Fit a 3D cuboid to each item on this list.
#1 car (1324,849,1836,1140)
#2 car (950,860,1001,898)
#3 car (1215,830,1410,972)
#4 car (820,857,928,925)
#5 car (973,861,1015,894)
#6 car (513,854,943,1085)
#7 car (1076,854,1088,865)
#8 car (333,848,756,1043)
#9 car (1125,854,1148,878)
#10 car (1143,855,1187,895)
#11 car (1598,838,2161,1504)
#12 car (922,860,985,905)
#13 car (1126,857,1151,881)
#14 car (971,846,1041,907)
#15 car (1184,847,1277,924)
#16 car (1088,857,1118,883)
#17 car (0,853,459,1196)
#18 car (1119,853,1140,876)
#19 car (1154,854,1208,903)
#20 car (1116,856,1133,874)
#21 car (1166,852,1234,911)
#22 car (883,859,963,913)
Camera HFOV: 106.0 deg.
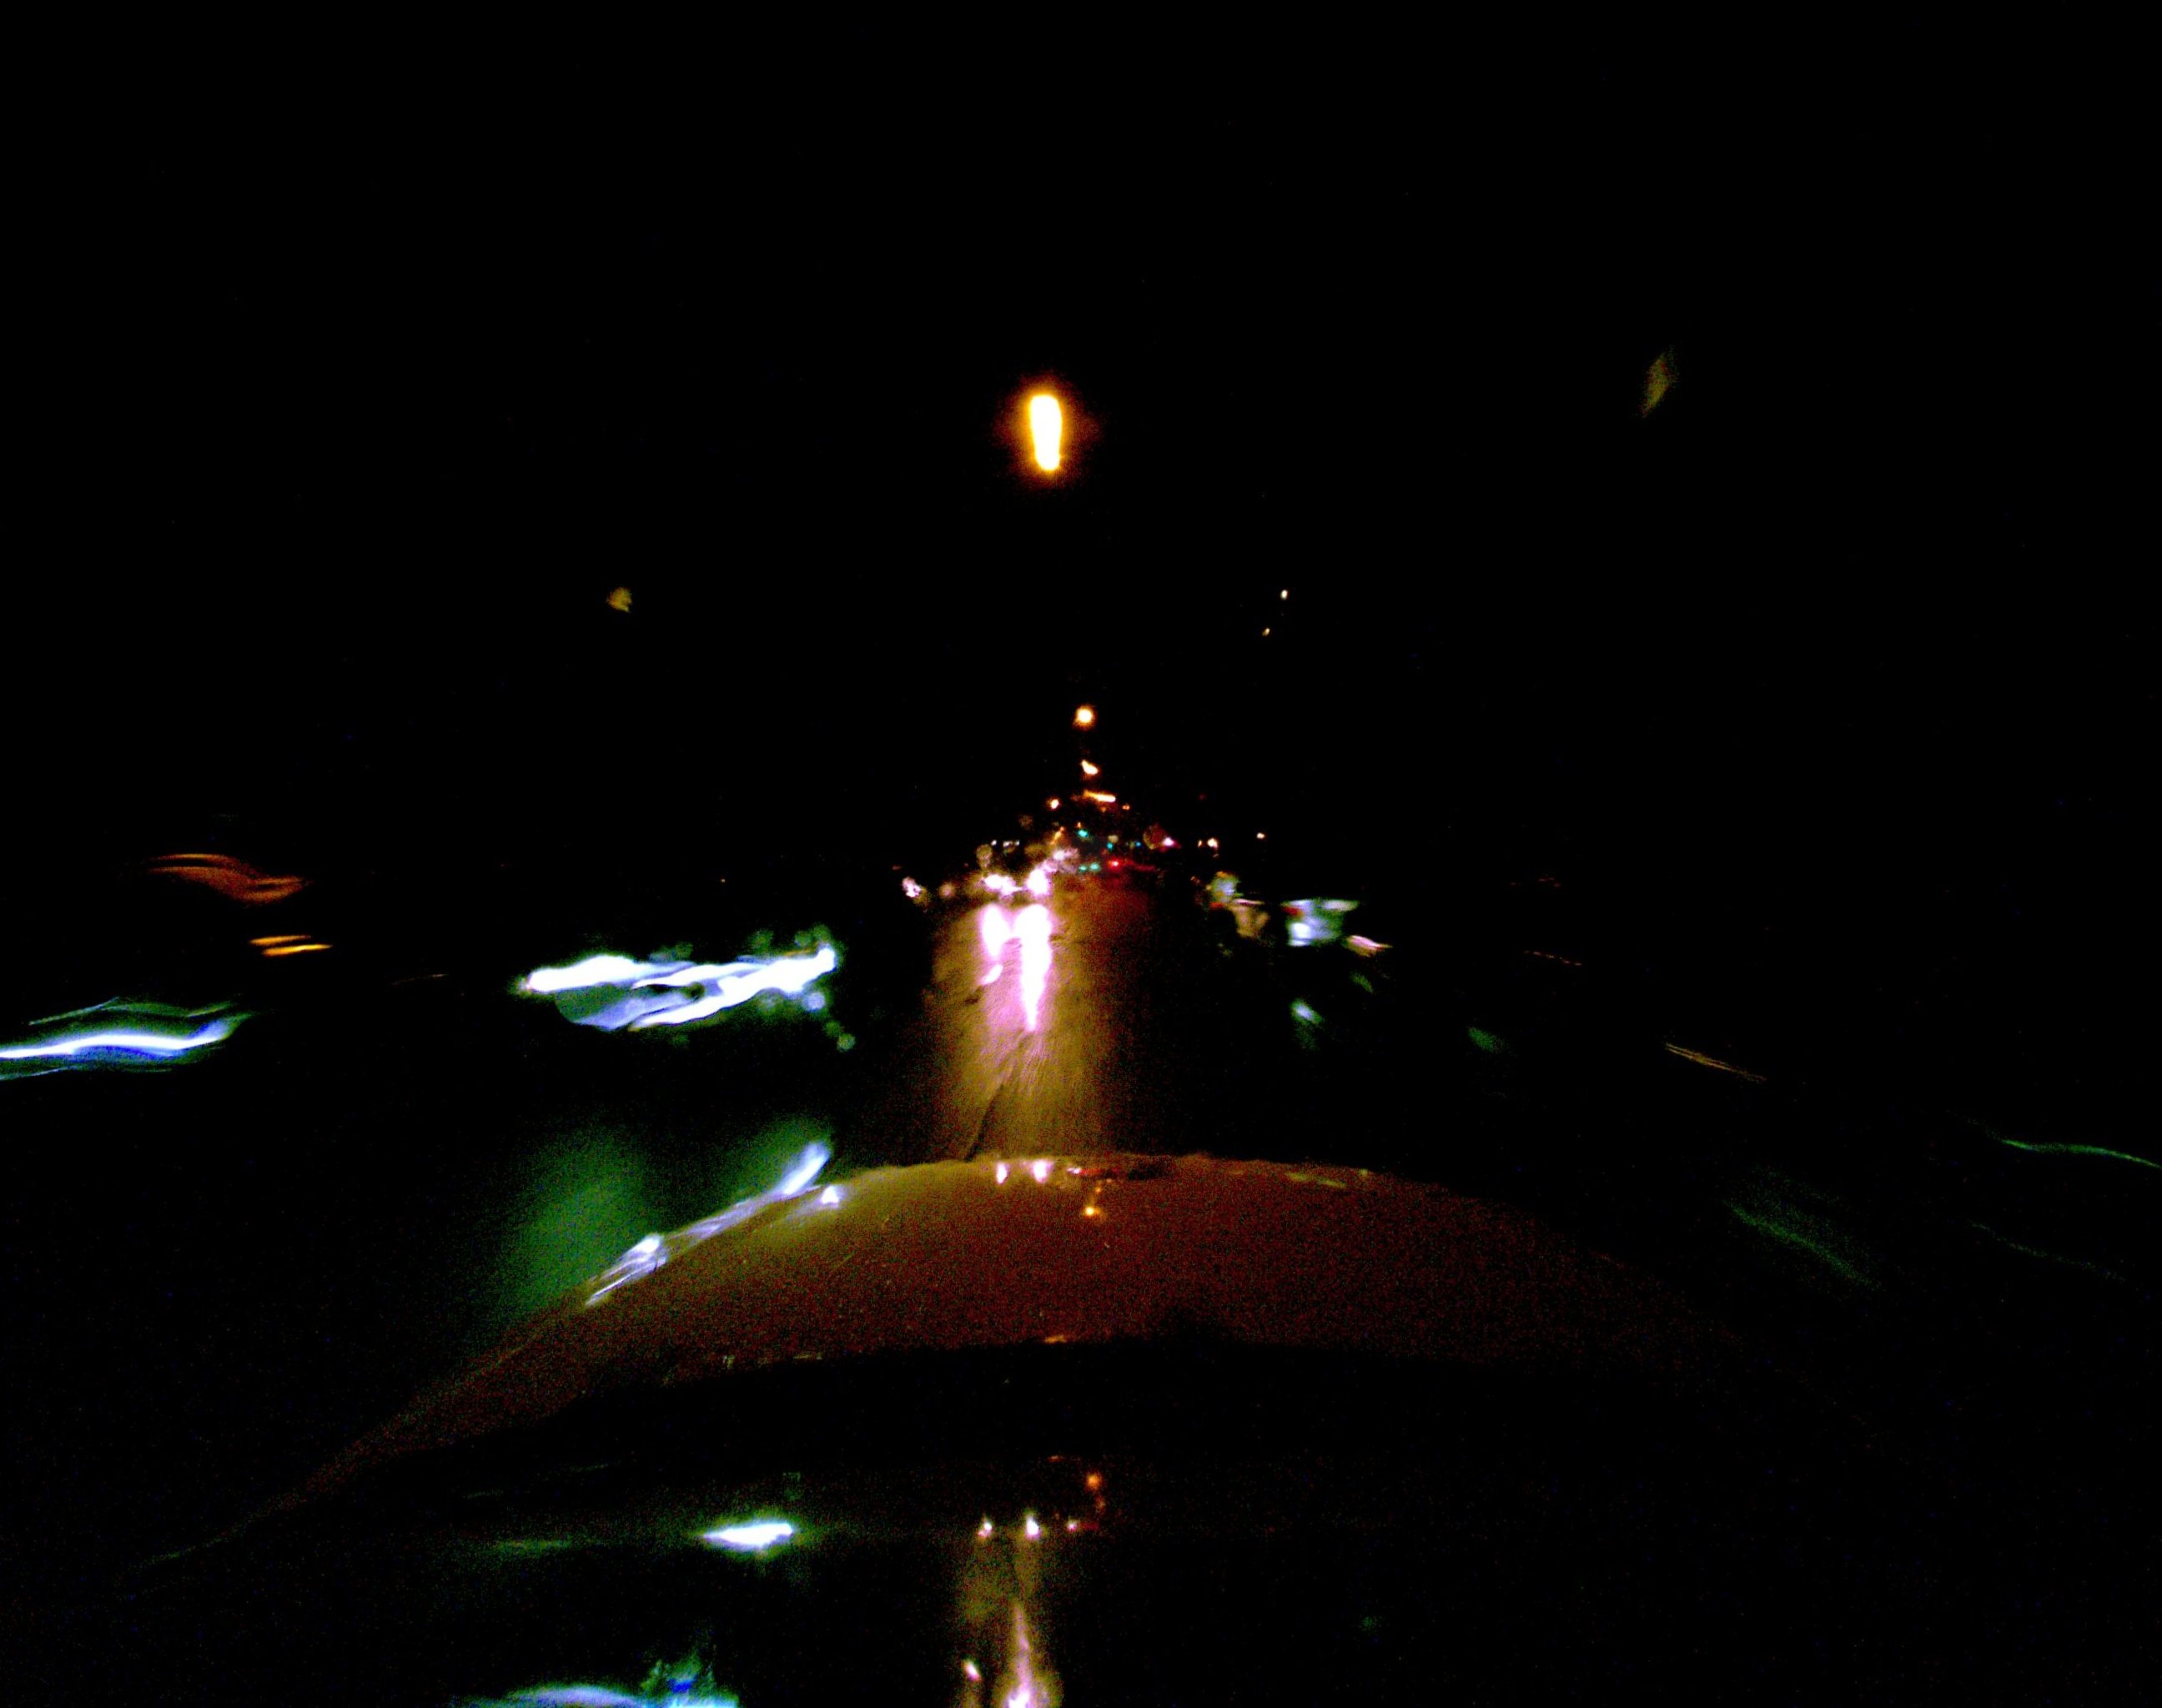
[{"bbox_3d":[3.068,0.714,5.975,1.490,1.388,3.749,-3,0,2],"label":"car"},{"bbox_3d":[-4.718,1.103,36.806,1.570,1.462,4.001,-6,0,1],"label":"car"},{"bbox_3d":[3.208,0.588,12.145,1.814,1.673,4.002,-3,0,2],"label":"car"},{"bbox_3d":[-5.284,0.894,21.288,1.570,1.462,4.001,-6,0,1],"label":"car"},{"bbox_3d":[-4.501,1.196,42.624,1.570,1.462,4.001,-6,0,1],"label":"car"},{"bbox_3d":[-2.670,0.744,7.630,1.814,1.463,4.866,0,0,1],"label":"car"},{"bbox_3d":[0.258,0.908,135.947,1.805,1.710,3.805,-3,0,2],"label":"car"},{"bbox_3d":[-5.560,0.863,9.306,1.753,1.571,4.452,-4,-2,1],"label":"car"},{"bbox_3d":[4.164,0.886,61.498,1.530,1.710,3.805,-3,0,2],"label":"car"},{"bbox_3d":[3.551,0.864,35.006,1.530,1.562,3.805,-3,0,2],"label":"car"},{"bbox_3d":[3.113,0.677,1.710,1.598,1.388,3.792,-3,0,0],"label":"car"},{"bbox_3d":[-4.876,1.051,31.657,1.570,1.462,4.001,-6,0,1],"label":"car"},{"bbox_3d":[3.966,1.008,56.407,1.530,1.562,3.805,-3,0,2],"label":"car"},{"bbox_3d":[-2.332,0.699,26.217,1.683,1.785,4.001,-2,-1,2],"label":"car"},{"bbox_3d":[3.406,0.673,19.116,1.530,1.562,3.805,-3,0,2],"label":"car"},{"bbox_3d":[1.580,1.112,56.811,1.986,1.684,4.002,-1,0,2],"label":"car"},{"bbox_3d":[-5.780,0.839,4.171,1.607,1.571,4.453,-4,0,1],"label":"car"},{"bbox_3d":[3.954,0.851,66.705,1.530,1.710,3.805,-3,0,2],"label":"car"},{"bbox_3d":[3.526,0.835,29.330,1.530,1.562,3.805,-3,0,2],"label":"car"},{"bbox_3d":[4.258,1.065,80.488,1.530,1.710,3.805,-3,0,2],"label":"car"},{"bbox_3d":[3.480,0.756,24.380,1.530,1.562,3.805,-3,0,2],"label":"car"},{"bbox_3d":[-4.974,0.962,26.186,1.570,1.462,4.001,-6,0,1],"label":"car"}]
